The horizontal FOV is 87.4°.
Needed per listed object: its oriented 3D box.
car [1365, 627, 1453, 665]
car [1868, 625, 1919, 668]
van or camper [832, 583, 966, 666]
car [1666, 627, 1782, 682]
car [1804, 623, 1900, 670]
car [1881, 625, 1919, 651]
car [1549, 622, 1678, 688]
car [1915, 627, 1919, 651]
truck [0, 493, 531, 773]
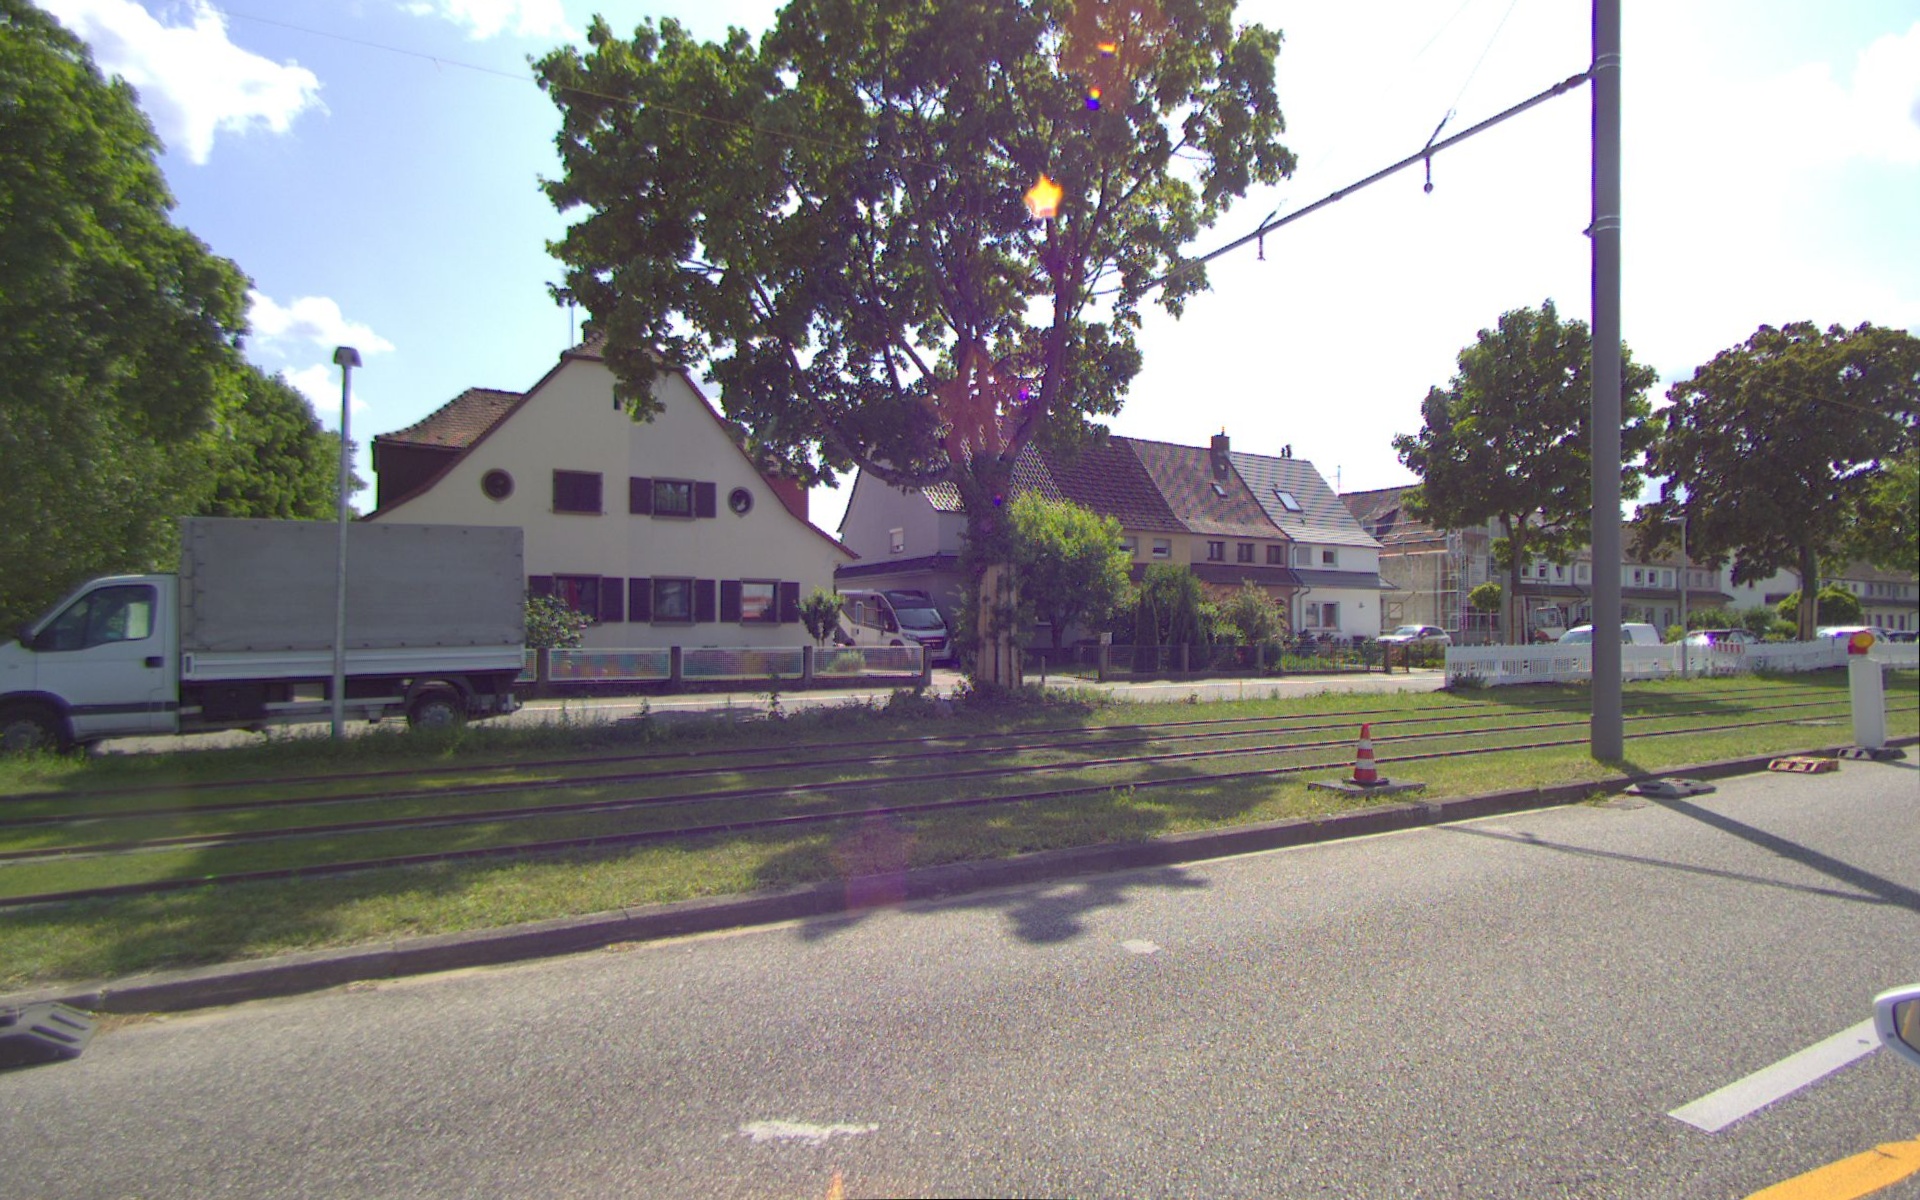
[{"bbox_3d":[19.896,1.993,44.484,3.814,1.614,1.691,1,-2,-30],"label":"car"},{"bbox_3d":[40.396,1.960,42.605,3.814,1.762,1.691,1,-2,-30],"label":"car"},{"bbox_3d":[-2.344,0.909,36.656,2.224,2.745,5.963,1,-2,-33],"label":"van or camper"},{"bbox_3d":[25.752,1.799,33.831,4.006,1.762,1.691,1,-2,-30],"label":"car"},{"bbox_3d":[34.987,1.801,39.389,3.814,1.762,1.691,1,-2,-30],"label":"car"},{"bbox_3d":[66.760,2.680,70.735,4.013,1.762,1.691,1,-2,-30],"label":"car"},{"bbox_3d":[19.508,1.605,29.965,3.814,1.841,1.691,1,-2,-30],"label":"car"},{"bbox_3d":[71.756,2.837,73.445,4.013,1.762,1.691,1,-2,-30],"label":"car"},{"bbox_3d":[-8.792,0.415,12.940,5.805,3.027,1.994,1,-2,-30],"label":"truck"}]
